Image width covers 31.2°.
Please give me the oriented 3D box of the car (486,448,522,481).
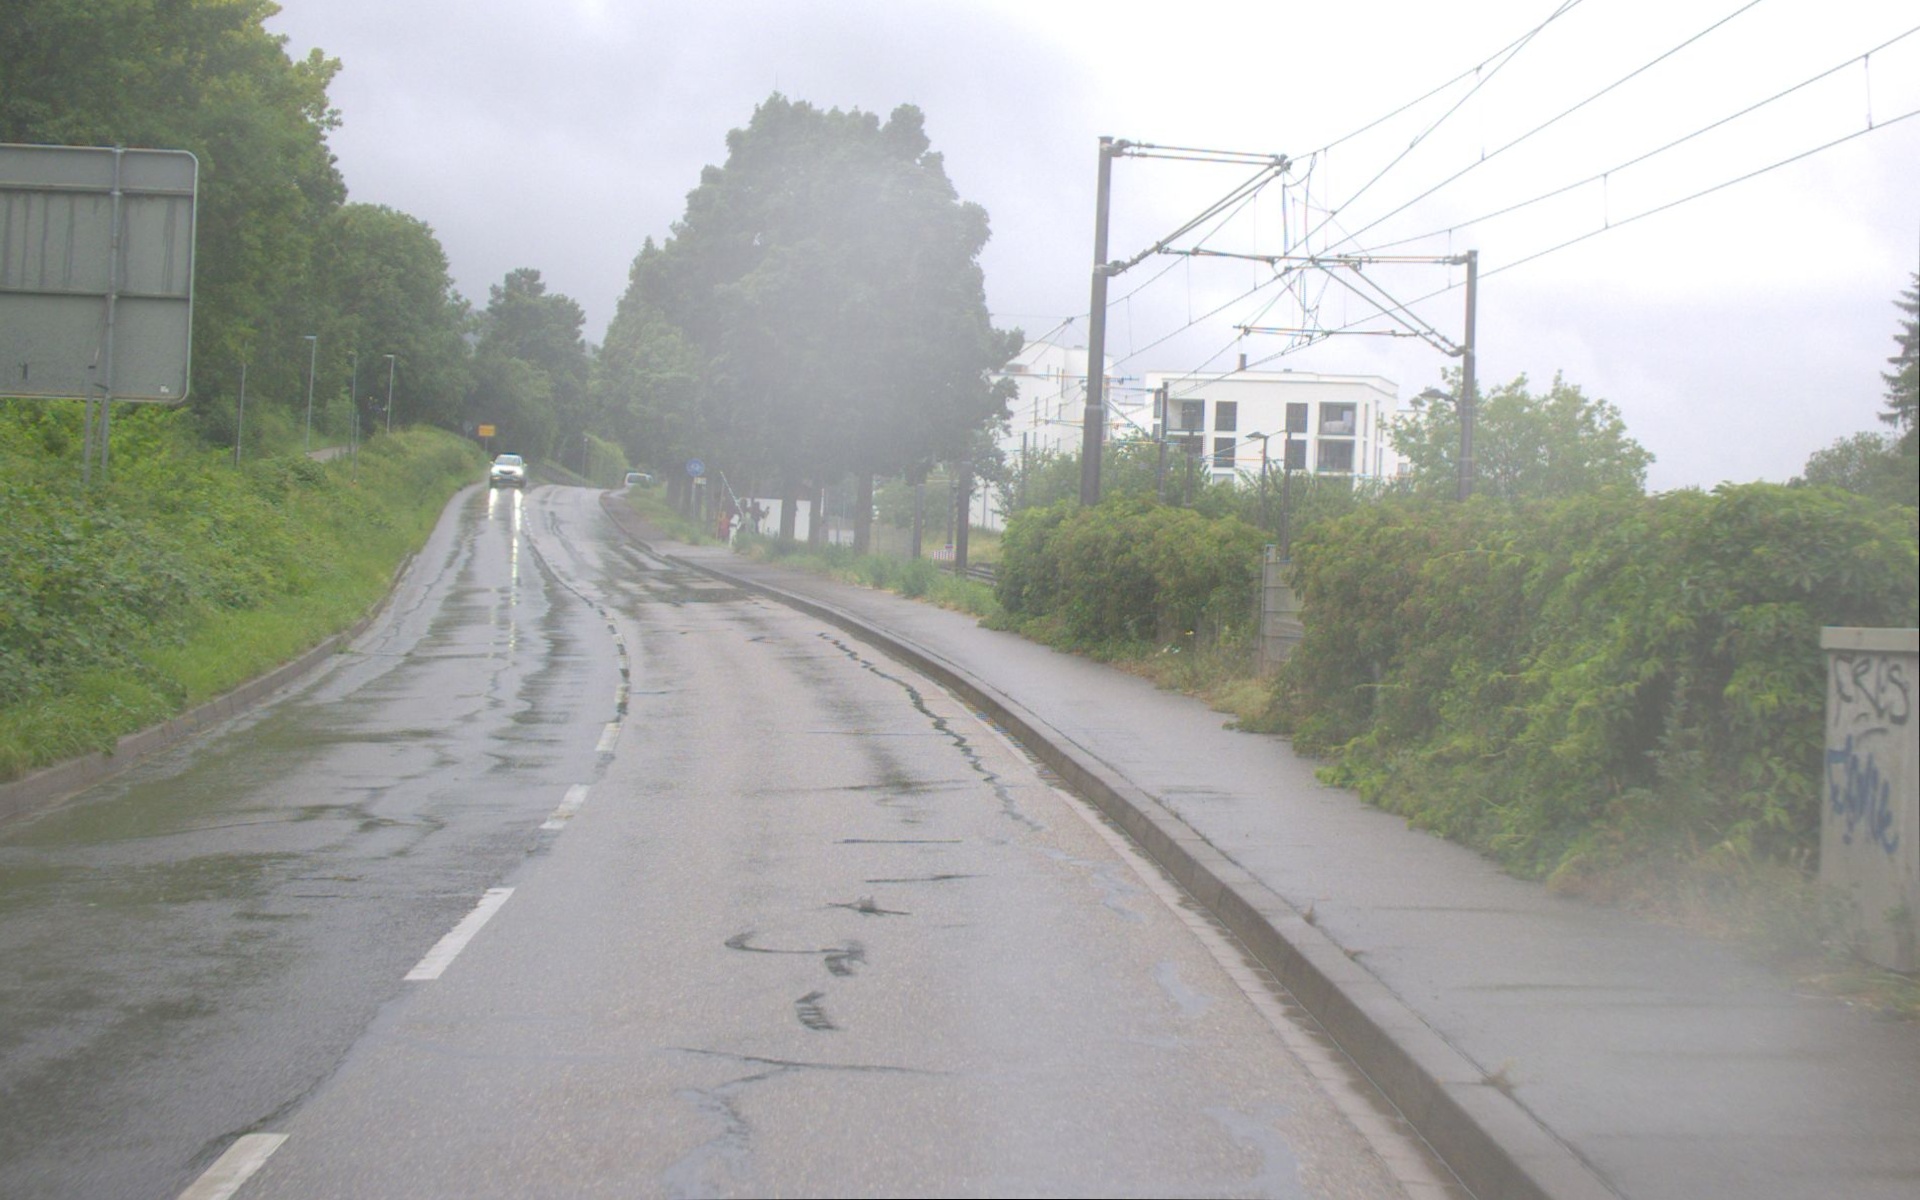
[{"bbox_3d":[-24.425,-7.259,184.163,1.744,1.606,4.089,3,2,-6],"label":"car"}]
